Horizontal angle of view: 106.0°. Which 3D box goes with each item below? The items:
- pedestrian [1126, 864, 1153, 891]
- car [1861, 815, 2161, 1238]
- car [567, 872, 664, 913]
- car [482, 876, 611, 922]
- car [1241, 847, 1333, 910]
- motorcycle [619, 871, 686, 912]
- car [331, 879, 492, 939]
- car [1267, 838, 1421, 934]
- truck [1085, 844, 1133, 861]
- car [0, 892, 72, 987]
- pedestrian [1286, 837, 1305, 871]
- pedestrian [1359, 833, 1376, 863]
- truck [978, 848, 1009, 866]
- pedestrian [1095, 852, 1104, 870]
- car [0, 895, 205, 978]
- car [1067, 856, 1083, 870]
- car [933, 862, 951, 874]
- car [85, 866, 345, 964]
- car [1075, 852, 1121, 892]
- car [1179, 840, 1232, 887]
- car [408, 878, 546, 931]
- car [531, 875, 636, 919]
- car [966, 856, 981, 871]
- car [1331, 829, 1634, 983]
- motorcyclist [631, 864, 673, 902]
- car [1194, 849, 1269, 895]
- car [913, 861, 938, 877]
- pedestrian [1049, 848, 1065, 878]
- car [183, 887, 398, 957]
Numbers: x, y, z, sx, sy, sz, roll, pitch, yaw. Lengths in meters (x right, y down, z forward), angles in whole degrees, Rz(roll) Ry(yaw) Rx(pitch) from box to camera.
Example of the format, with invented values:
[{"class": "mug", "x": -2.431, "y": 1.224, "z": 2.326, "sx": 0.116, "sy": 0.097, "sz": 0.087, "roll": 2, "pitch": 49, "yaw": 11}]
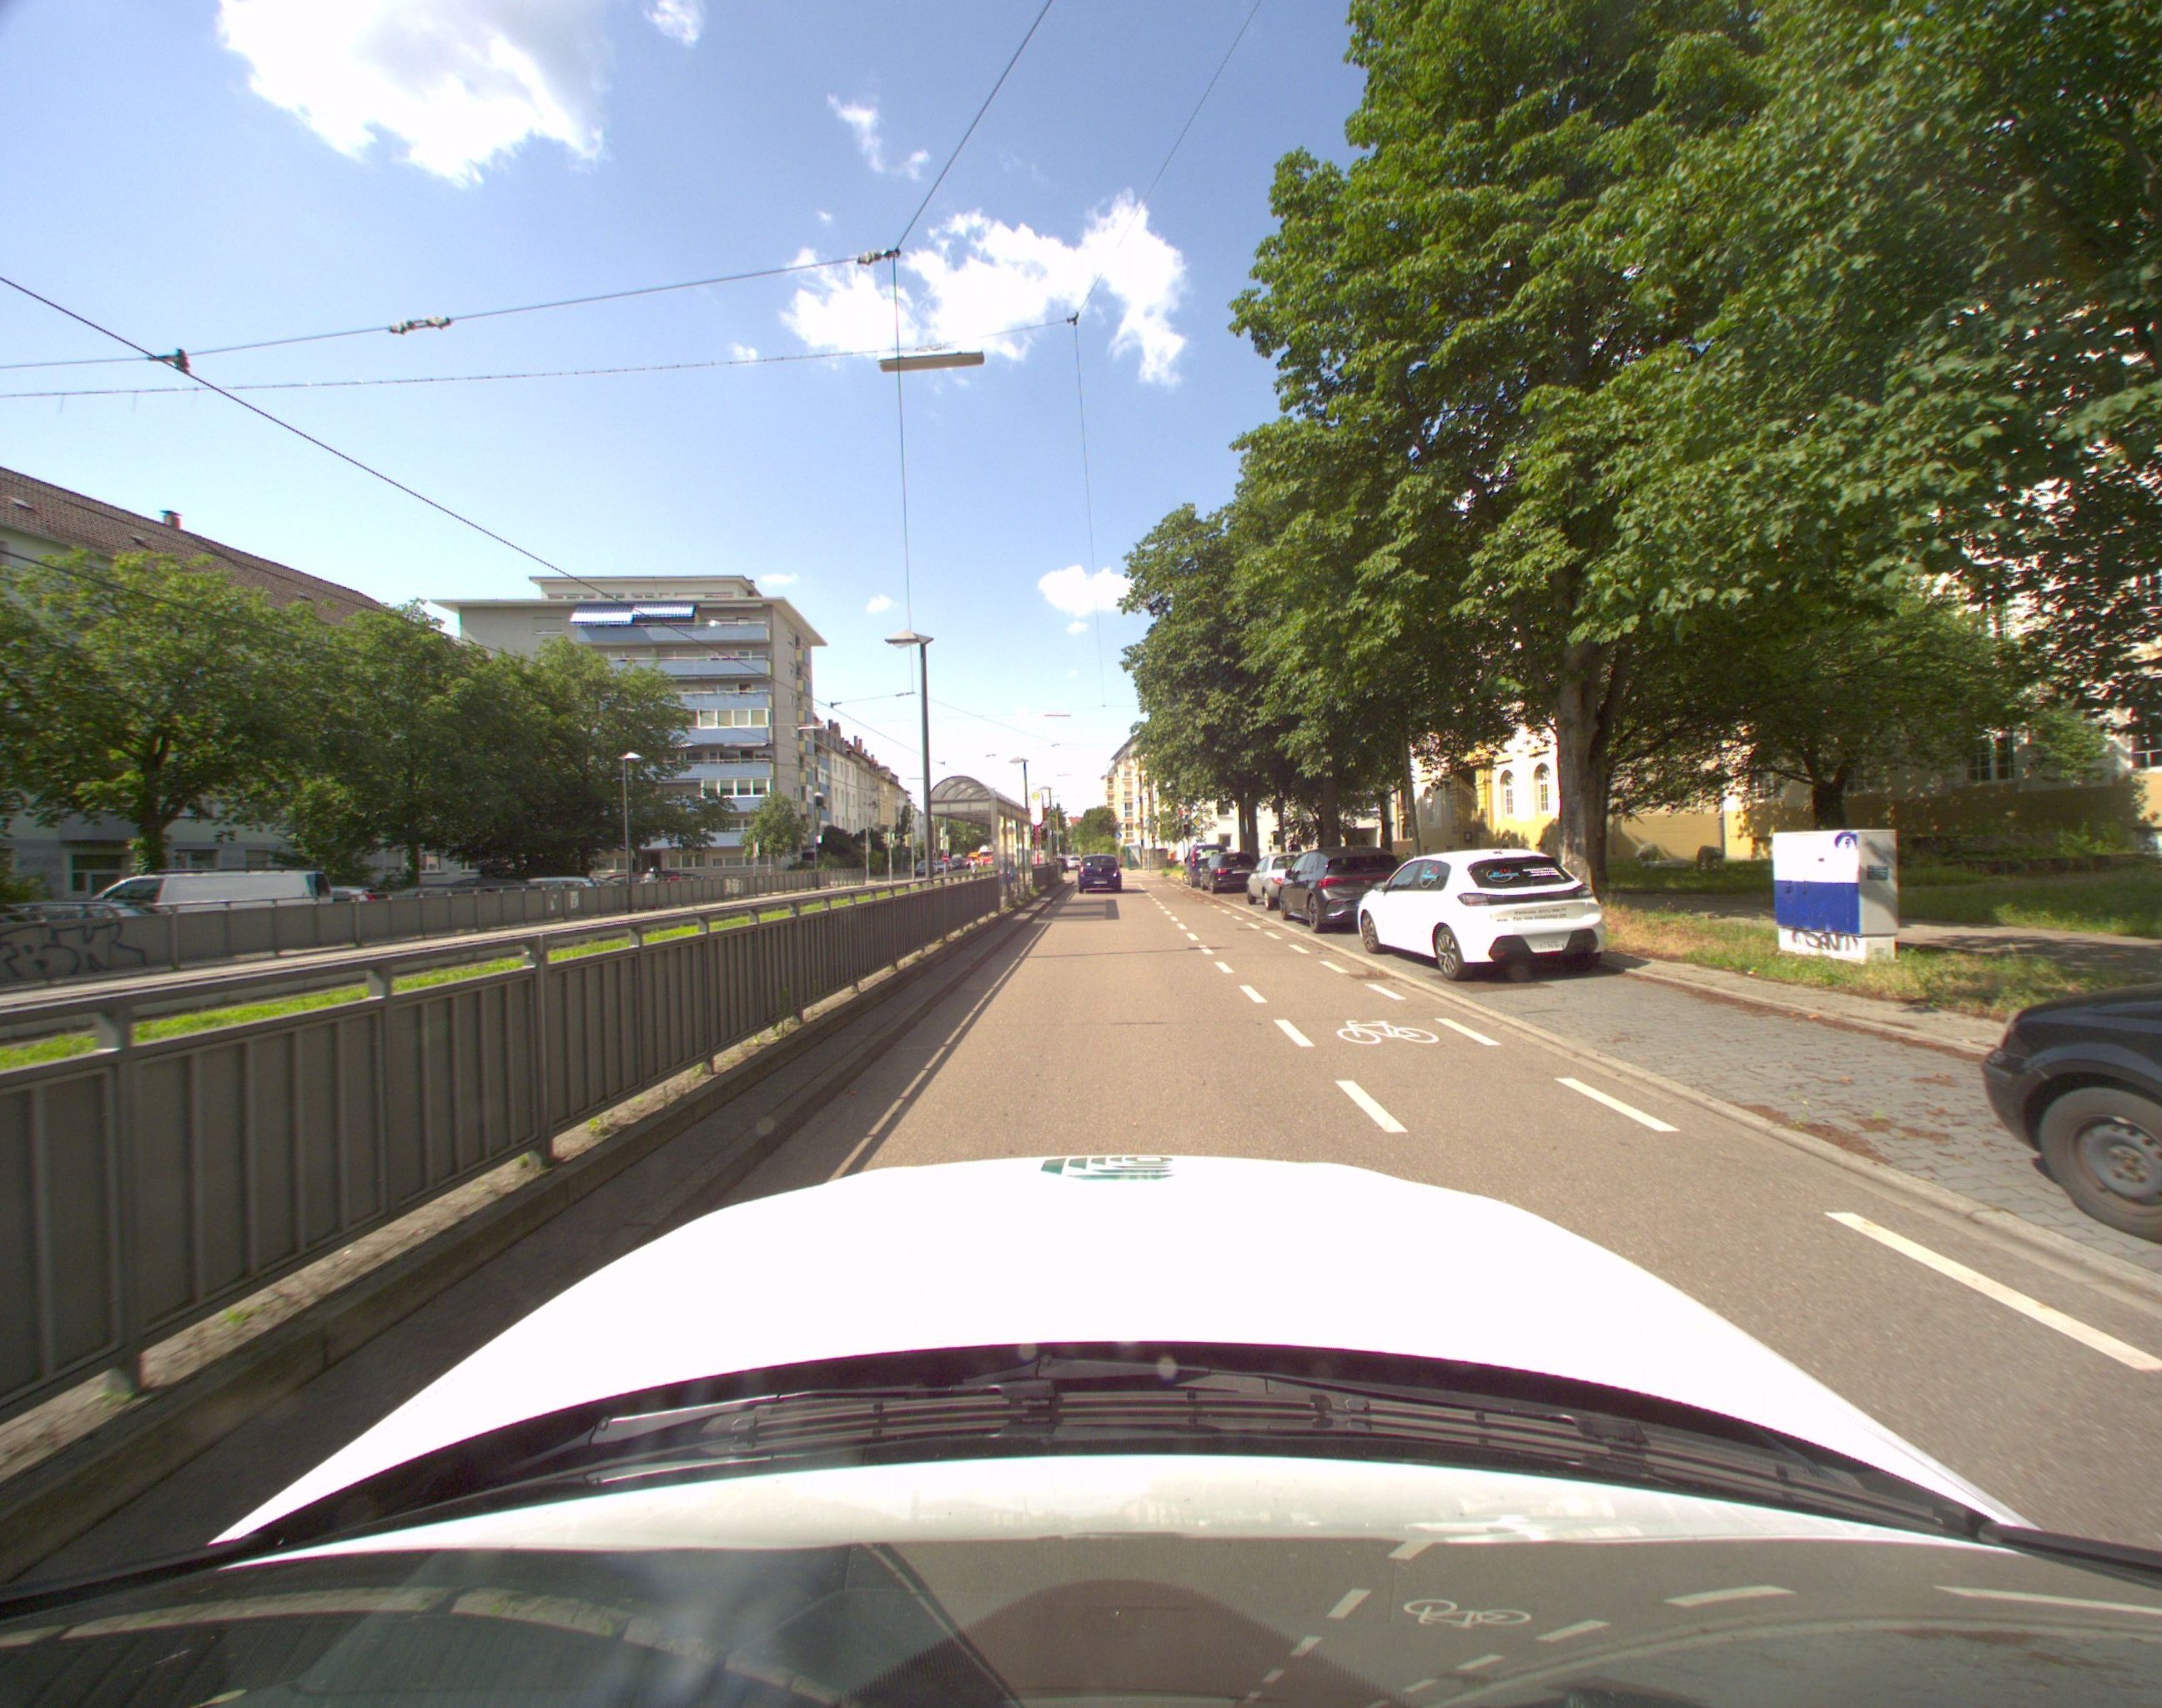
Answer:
[{"class": "pedestrian", "x": 4.494, "y": 1.795, "z": 63.164, "sx": 1.986, "sy": 2.014, "sz": 4.002, "roll": 0, "pitch": -1, "yaw": 2}, {"class": "car", "x": 4.652, "y": 0.584, "z": 2.188, "sx": 1.551, "sy": 1.461, "sz": 3.557, "roll": -6, "pitch": -1, "yaw": -1}, {"class": "car", "x": -21.094, "y": 1.707, "z": 37.022, "sx": 3.677, "sy": 1.579, "sz": 1.633, "roll": -2, "pitch": 0, "yaw": -30}, {"class": "car", "x": -20.832, "y": 1.714, "z": 31.931, "sx": 4.039, "sy": 1.514, "sz": 1.595, "roll": -2, "pitch": 0, "yaw": -29}, {"class": "car", "x": 5.401, "y": 0.614, "z": 21.789, "sx": 1.584, "sy": 1.445, "sz": 3.599, "roll": -4, "pitch": 0, "yaw": 2}, {"class": "motorcycle", "x": -15.872, "y": 1.365, "z": 30.261, "sx": 1.011, "sy": 1.339, "sz": 2.518, "roll": -3, "pitch": 0, "yaw": 2}, {"class": "car", "x": -21.219, "y": 1.692, "z": 26.007, "sx": 3.677, "sy": 1.579, "sz": 1.633, "roll": -2, "pitch": 0, "yaw": -30}, {"class": "car", "x": 5.113, "y": 0.554, "z": 16.525, "sx": 1.718, "sy": 1.583, "sz": 4.680, "roll": -3, "pitch": 0, "yaw": 2}, {"class": "truck", "x": 5.976, "y": -0.377, "z": 174.658, "sx": 10.131, "sy": 3.471, "sz": 2.667, "roll": 0, "pitch": -1, "yaw": -9}, {"class": "car", "x": -21.633, "y": 1.656, "z": 14.618, "sx": 4.018, "sy": 1.639, "sz": 1.807, "roll": -2, "pitch": 1, "yaw": -36}, {"class": "pedestrian", "x": 11.025, "y": 0.013, "z": 41.940, "sx": 0.741, "sy": 1.696, "sz": 0.767, "roll": -3, "pitch": 0, "yaw": 2}, {"class": "pedestrian", "x": 15.449, "y": -0.319, "z": 43.964, "sx": 0.629, "sy": 1.596, "sz": 0.539, "roll": -2, "pitch": -1, "yaw": -2}, {"class": "truck", "x": -16.726, "y": 0.628, "z": 156.355, "sx": 2.575, "sy": 3.185, "sz": 8.421, "roll": -4, "pitch": 0, "yaw": 18}, {"class": "pedestrian", "x": 1.886, "y": 0.704, "z": 81.680, "sx": 0.699, "sy": 1.789, "sz": 1.029, "roll": -5, "pitch": 0, "yaw": -2}, {"class": "car", "x": -21.828, "y": 1.758, "z": 17.317, "sx": 4.014, "sy": 1.485, "sz": 1.593, "roll": -2, "pitch": 0, "yaw": -32}, {"class": "car", "x": -0.632, "y": 0.973, "z": 86.278, "sx": 1.618, "sy": 1.465, "sz": 3.507, "roll": 0, "pitch": -1, "yaw": -3}, {"class": "car", "x": -17.469, "y": 1.767, "z": 102.284, "sx": 1.765, "sy": 1.442, "sz": 3.994, "roll": 0, "pitch": -1, "yaw": -4}, {"class": "car", "x": -21.315, "y": 1.406, "z": 20.328, "sx": 3.963, "sy": 2.070, "sz": 2.030, "roll": -2, "pitch": 0, "yaw": -30}, {"class": "car", "x": 0.705, "y": 0.717, "z": 32.944, "sx": 1.738, "sy": 1.507, "sz": 4.000, "roll": 0, "pitch": -1, "yaw": 1}, {"class": "car", "x": 5.478, "y": 0.384, "z": 36.300, "sx": 1.815, "sy": 1.896, "sz": 4.187, "roll": -3, "pitch": 0, "yaw": 3}, {"class": "car", "x": -21.198, "y": 1.723, "z": 28.776, "sx": 3.677, "sy": 1.579, "sz": 1.633, "roll": -2, "pitch": 0, "yaw": -30}, {"class": "car", "x": -20.995, "y": 1.787, "z": 34.537, "sx": 3.677, "sy": 1.579, "sz": 1.633, "roll": -2, "pitch": 0, "yaw": -30}, {"class": "car", "x": -16.576, "y": 1.454, "z": 125.883, "sx": 1.990, "sy": 2.275, "sz": 4.826, "roll": 1, "pitch": 0, "yaw": -4}, {"class": "car", "x": 5.000, "y": 0.570, "z": 10.925, "sx": 1.830, "sy": 1.523, "sz": 4.251, "roll": -4, "pitch": 0, "yaw": -1}, {"class": "motorcyclist", "x": -15.915, "y": 1.074, "z": 30.238, "sx": 0.935, "sy": 1.339, "sz": 0.987, "roll": -3, "pitch": 0, "yaw": 2}, {"class": "car", "x": 5.616, "y": 0.615, "z": 30.937, "sx": 1.911, "sy": 1.442, "sz": 4.796, "roll": -5, "pitch": 0, "yaw": 0}, {"class": "car", "x": -16.451, "y": 1.576, "z": 86.325, "sx": 1.988, "sy": 1.645, "sz": 3.996, "roll": 0, "pitch": -1, "yaw": -2}, {"class": "pedestrian", "x": -1.406, "y": 0.520, "z": 47.516, "sx": 0.843, "sy": 1.667, "sz": 0.798, "roll": -2, "pitch": -1, "yaw": -1}, {"class": "car", "x": -21.888, "y": 1.826, "z": 22.779, "sx": 3.964, "sy": 1.579, "sz": 1.702, "roll": -2, "pitch": 0, "yaw": -31}]
